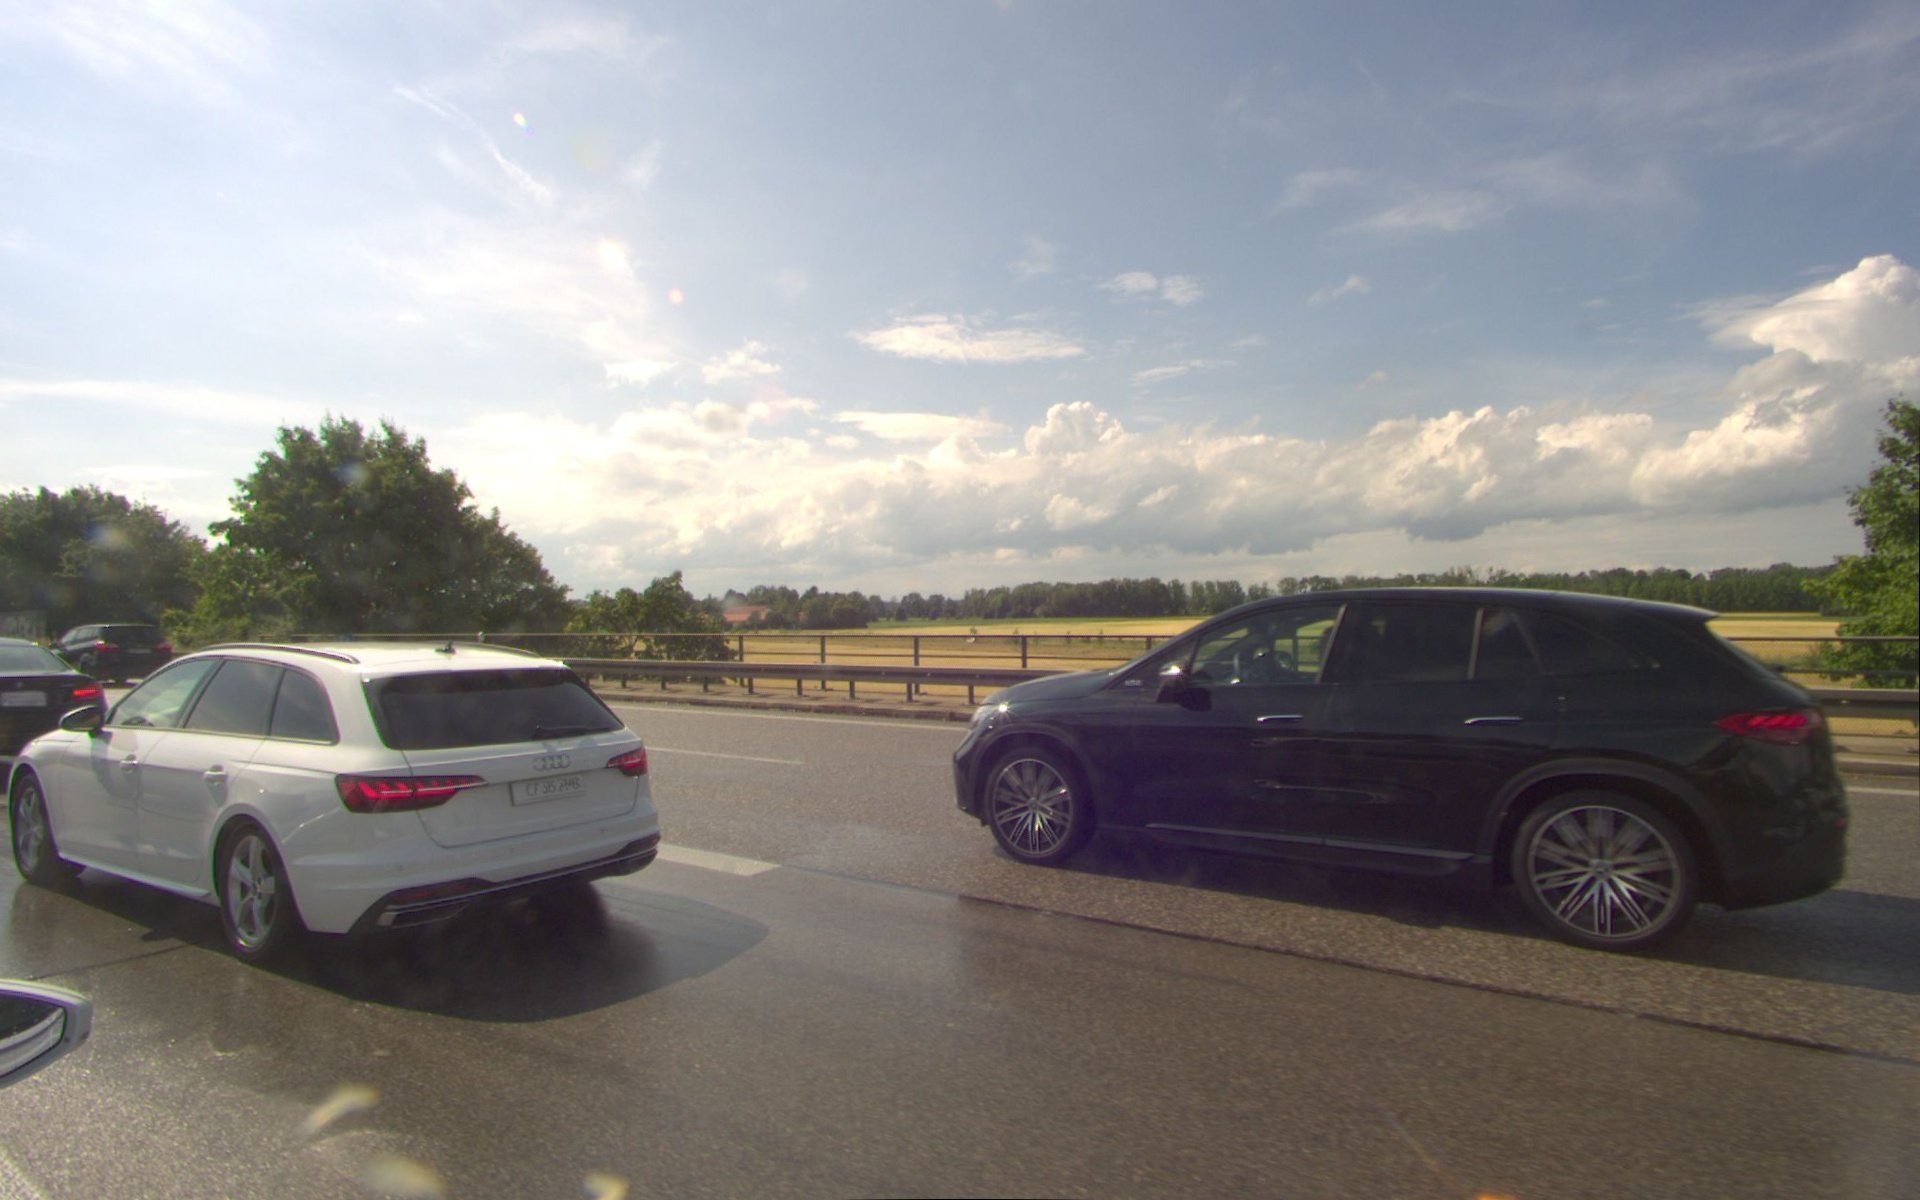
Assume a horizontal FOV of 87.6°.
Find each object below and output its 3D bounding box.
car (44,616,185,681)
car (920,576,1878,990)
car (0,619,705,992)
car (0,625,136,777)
[{"bbox_3d":[-23.053,1.280,27.265,4.303,1.641,1.817,-1,-2,34],"label":"car"},{"bbox_3d":[2.188,0.760,5.993,4.589,1.601,1.989,-1,-1,34],"label":"car"},{"bbox_3d":[-3.749,0.923,5.859,4.447,1.443,1.824,-2,-4,32],"label":"car"},{"bbox_3d":[-11.225,1.048,11.091,4.191,1.483,1.846,-1,-1,29],"label":"car"}]
